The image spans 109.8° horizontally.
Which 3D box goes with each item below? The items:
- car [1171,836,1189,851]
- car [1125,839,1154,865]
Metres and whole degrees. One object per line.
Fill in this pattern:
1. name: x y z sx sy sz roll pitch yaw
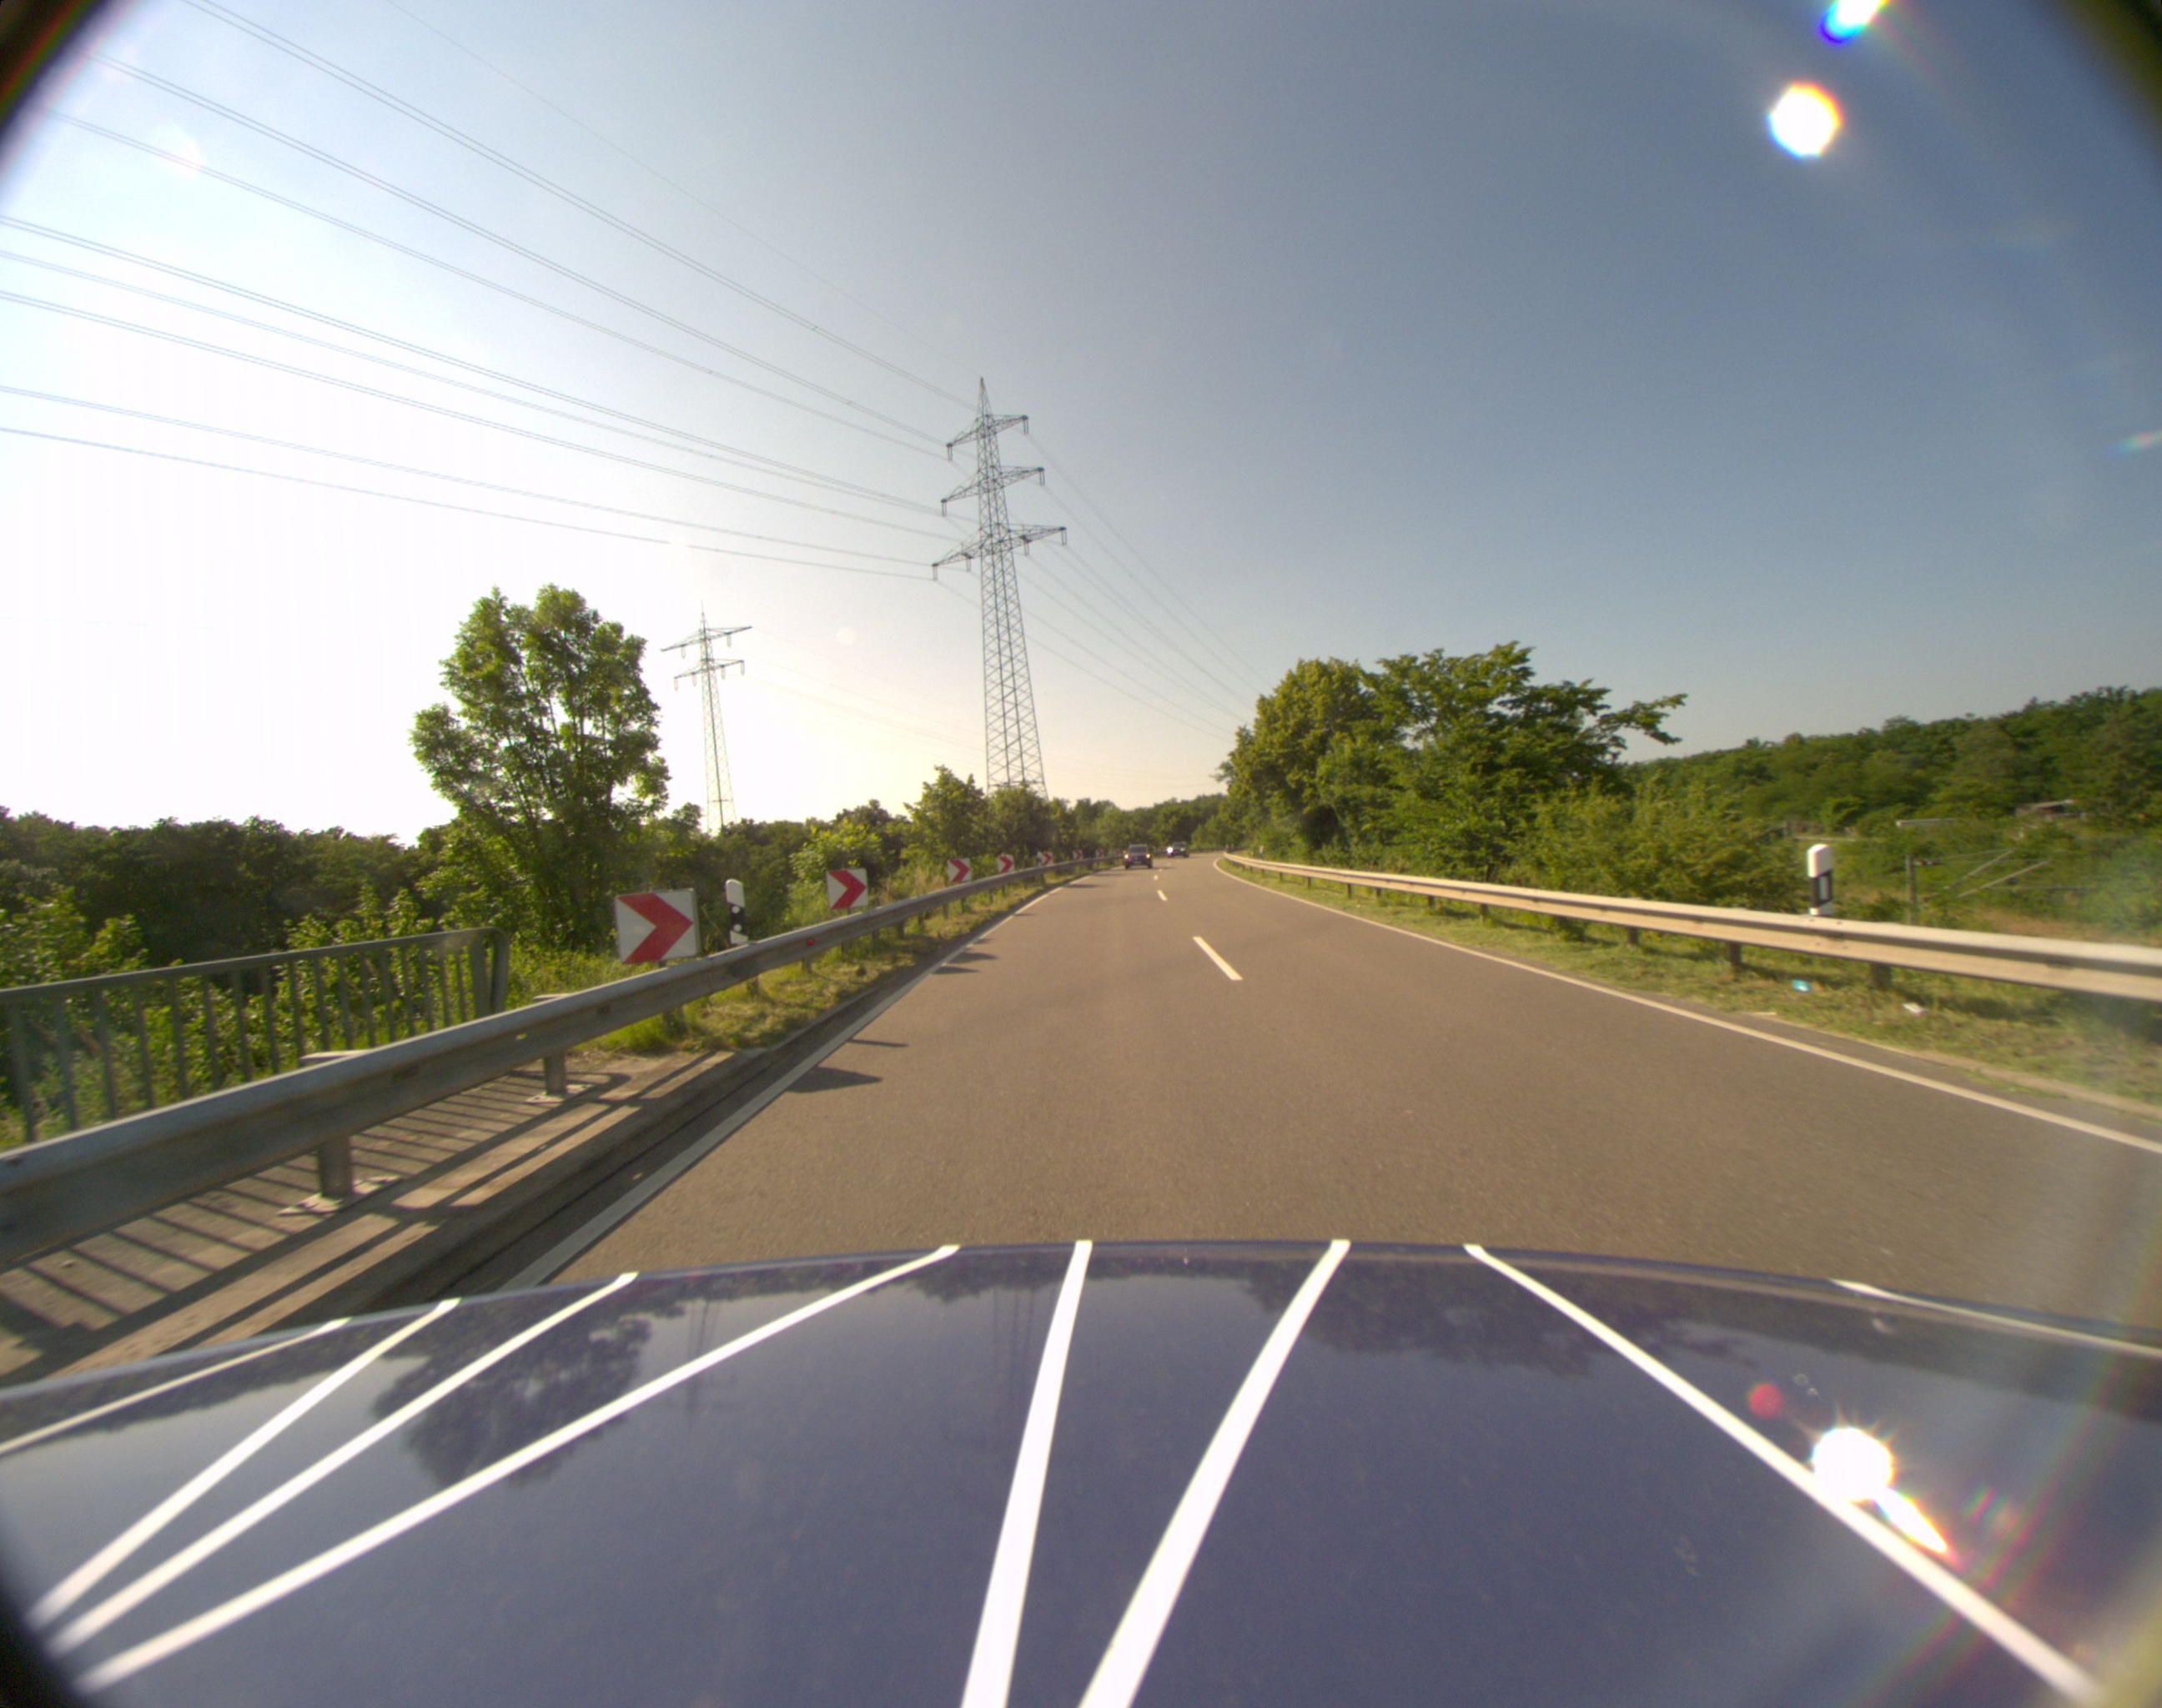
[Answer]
1. car: 10.806 -1.196 82.891 1.605 1.486 4.002 -2 2 13
2. car: 3.760 -0.162 48.642 1.606 1.486 4.000 -2 2 7
